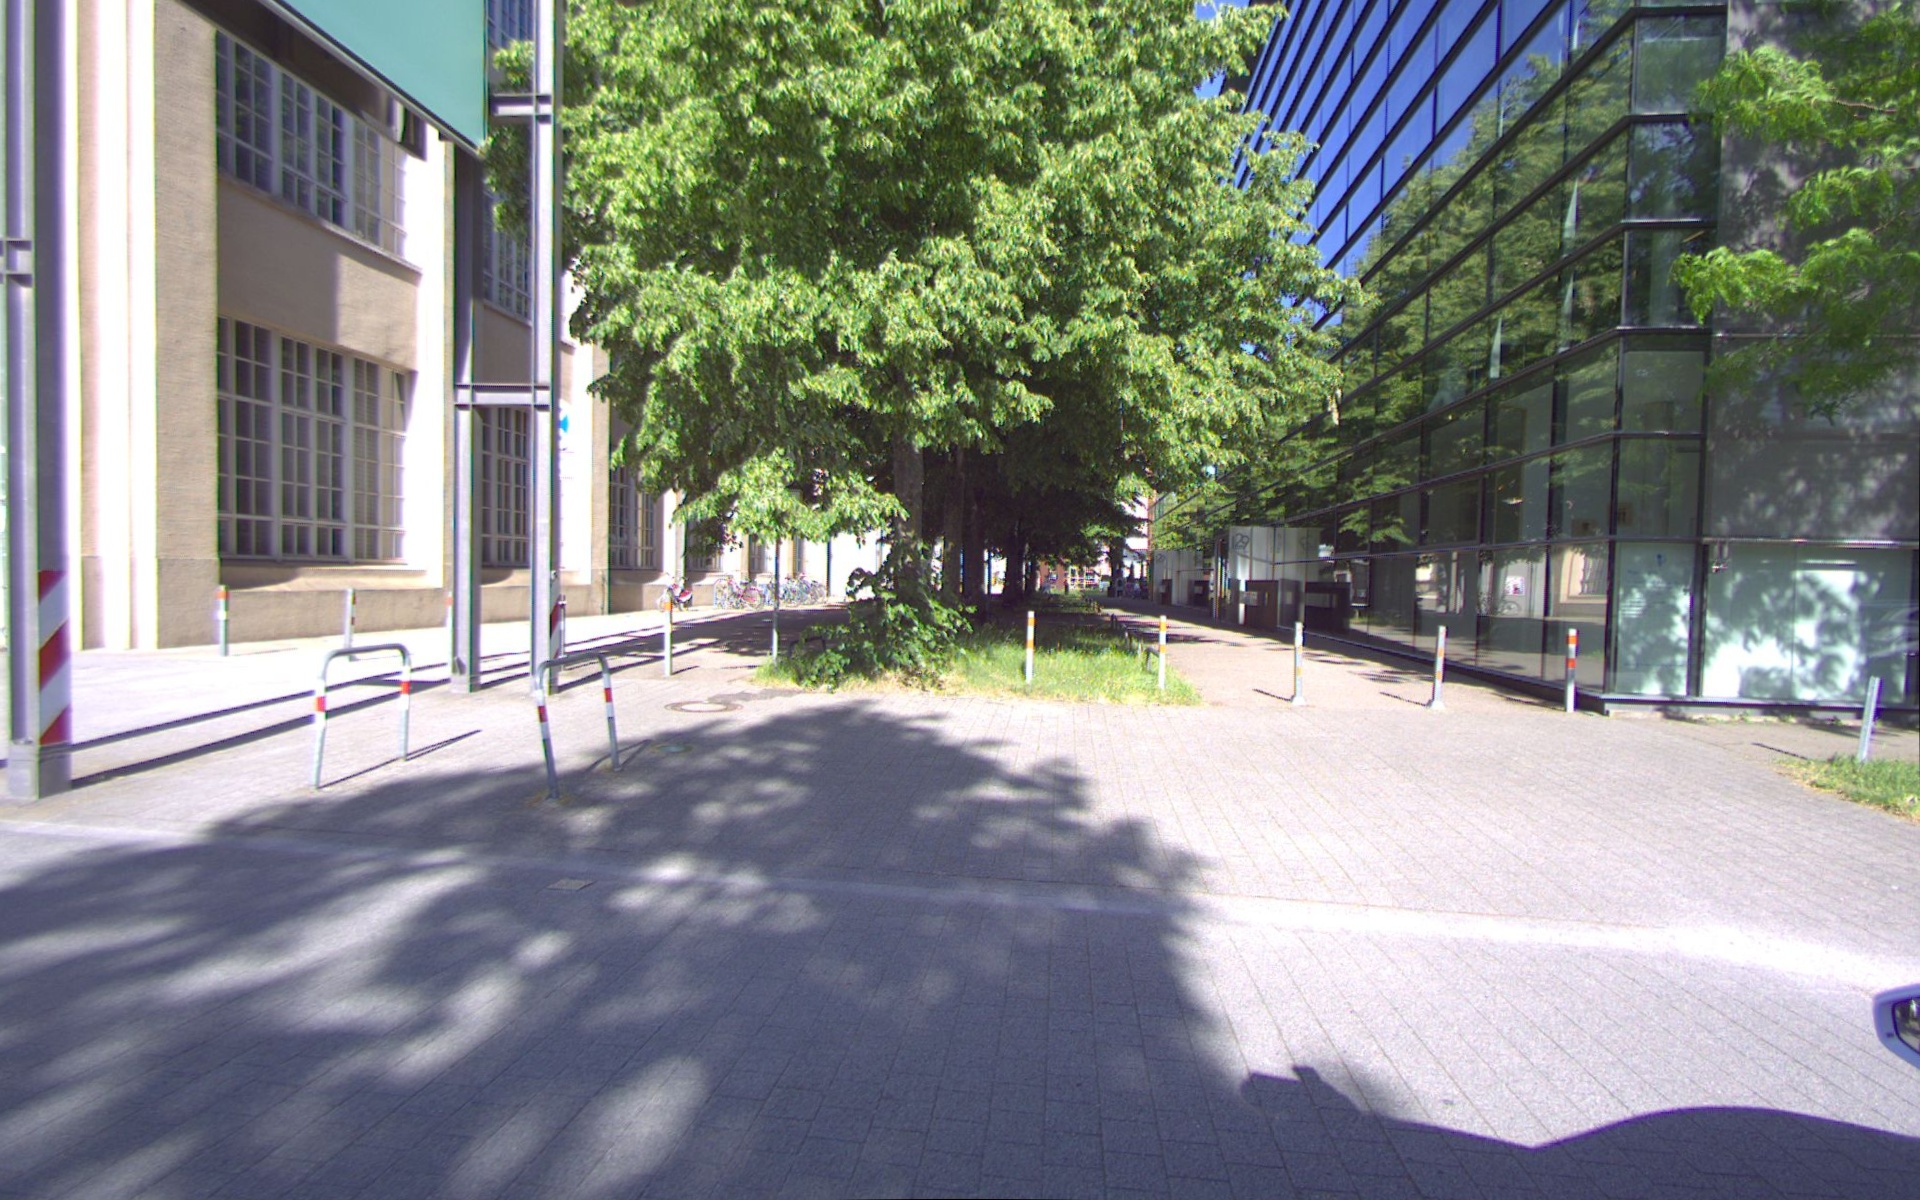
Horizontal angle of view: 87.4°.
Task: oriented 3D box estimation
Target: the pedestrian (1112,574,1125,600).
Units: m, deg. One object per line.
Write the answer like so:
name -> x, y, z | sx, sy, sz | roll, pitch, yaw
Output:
pedestrian -> 9.660, -0.811, 61.249 | 0.704, 1.571, 0.690 | 2, 2, 12

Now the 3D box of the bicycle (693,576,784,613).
bicycle -> -7.119, -0.187, 32.307 | 2.754, 1.077, 0.719 | 2, 2, 2

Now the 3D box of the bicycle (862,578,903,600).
bicycle -> -3.956, -0.570, 51.573 | 2.022, 1.081, 0.507 | 2, 2, 8

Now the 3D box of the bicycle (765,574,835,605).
bicycle -> -6.460, -0.424, 40.577 | 2.686, 1.166, 0.719 | 2, 2, 2

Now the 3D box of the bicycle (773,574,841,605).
bicycle -> -6.295, -0.437, 41.354 | 2.686, 1.166, 0.719 | 2, 2, 2

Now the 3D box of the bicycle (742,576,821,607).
bicycle -> -6.518, -0.321, 36.788 | 2.754, 1.077, 0.719 | 2, 2, 2

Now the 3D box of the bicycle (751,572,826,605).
bicycle -> -6.641, -0.455, 39.021 | 2.754, 1.166, 0.719 | 2, 2, 2

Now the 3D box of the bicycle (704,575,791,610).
bicycle -> -7.171, -0.263, 33.916 | 2.753, 1.077, 0.719 | 2, 2, 6

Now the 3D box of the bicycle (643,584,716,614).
bicycle -> -8.296, -0.051, 29.849 | 0.765, 0.803, 2.885 | 2, 2, 14
